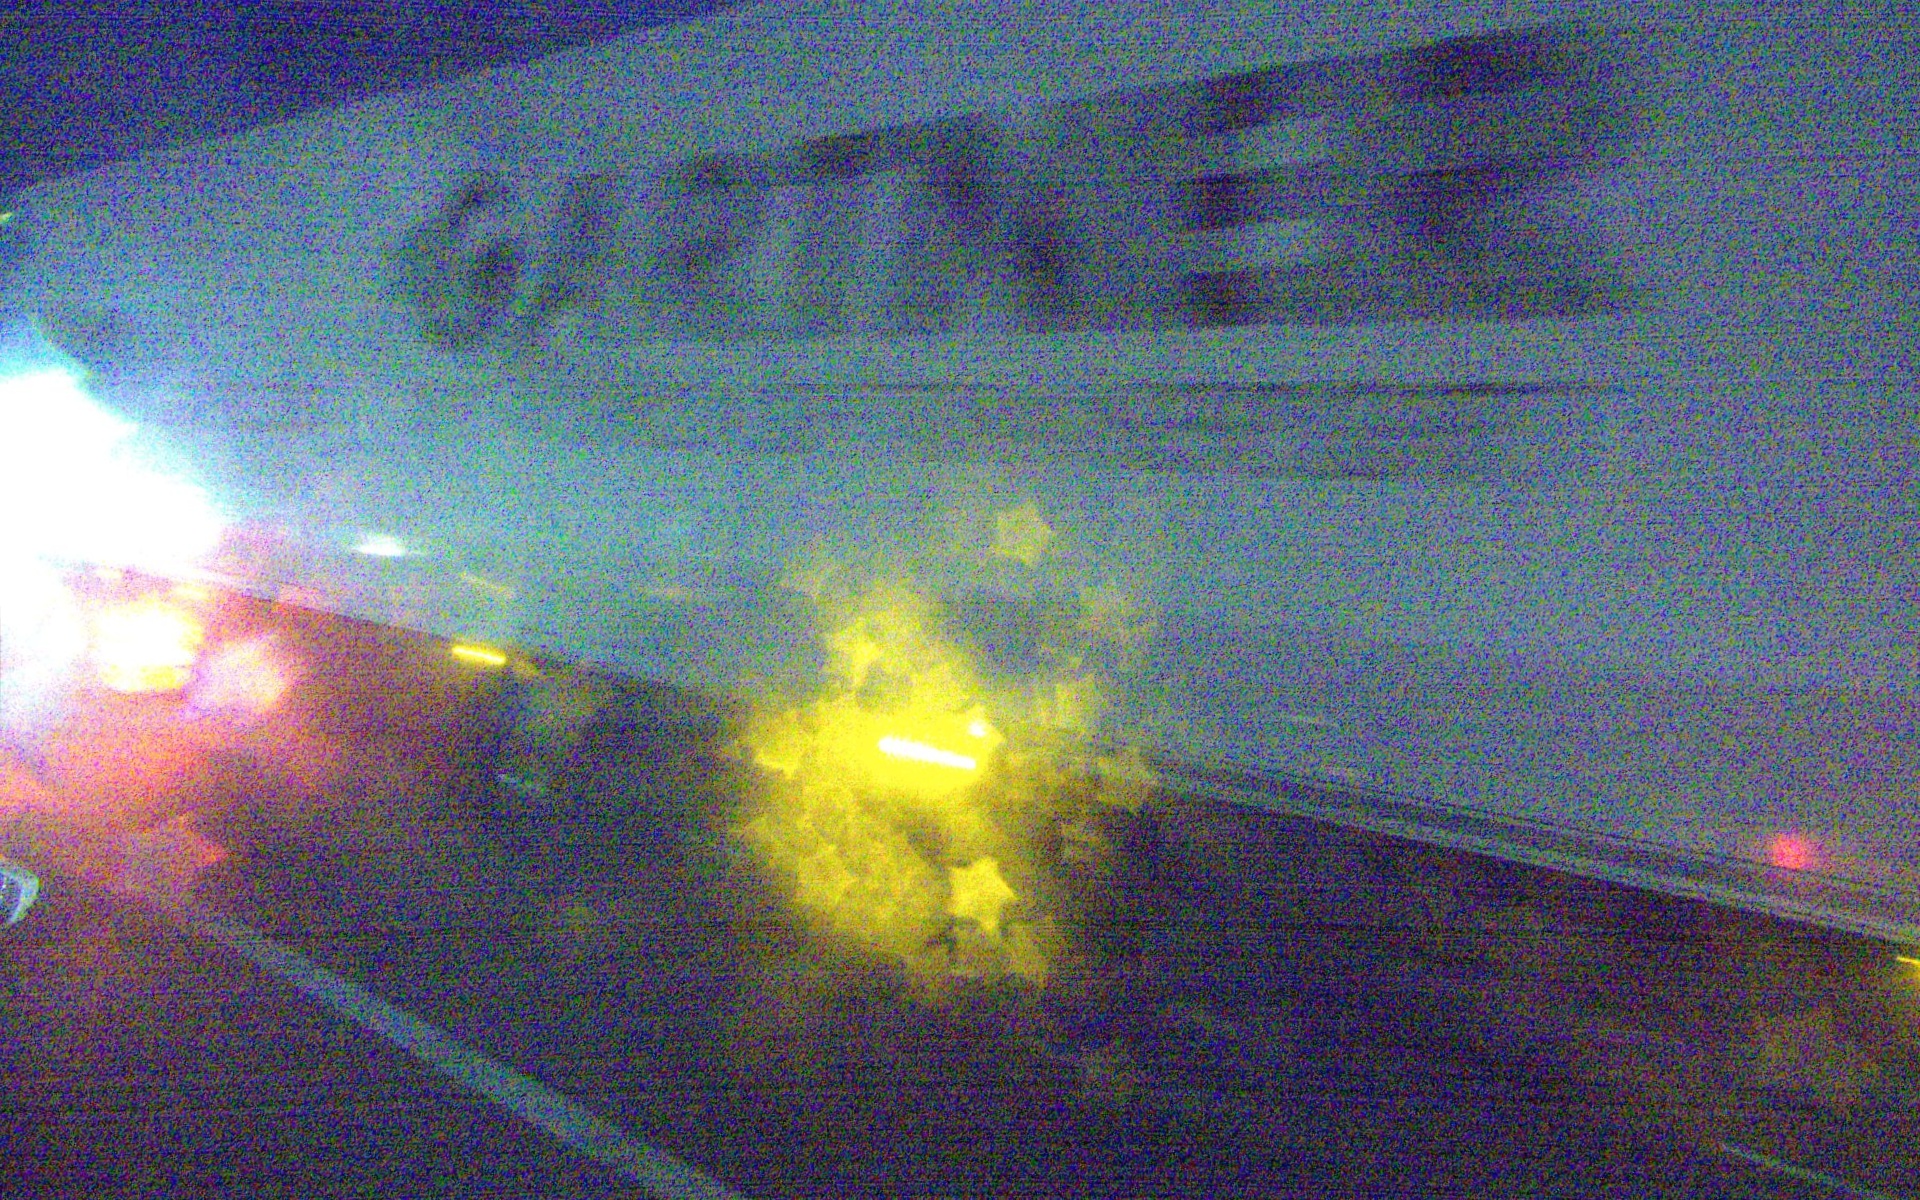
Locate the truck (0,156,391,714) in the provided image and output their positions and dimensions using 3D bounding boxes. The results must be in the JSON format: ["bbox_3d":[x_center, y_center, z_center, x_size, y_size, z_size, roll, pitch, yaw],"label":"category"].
[{"bbox_3d":[-9.038,-1.464,10.317,5.203,4.284,2.720,7,-4,30],"label":"truck"}]

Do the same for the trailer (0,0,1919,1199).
[{"bbox_3d":[-2.400,-0.756,6.538,13.147,4.293,2.747,5,-4,30],"label":"trailer"}]
